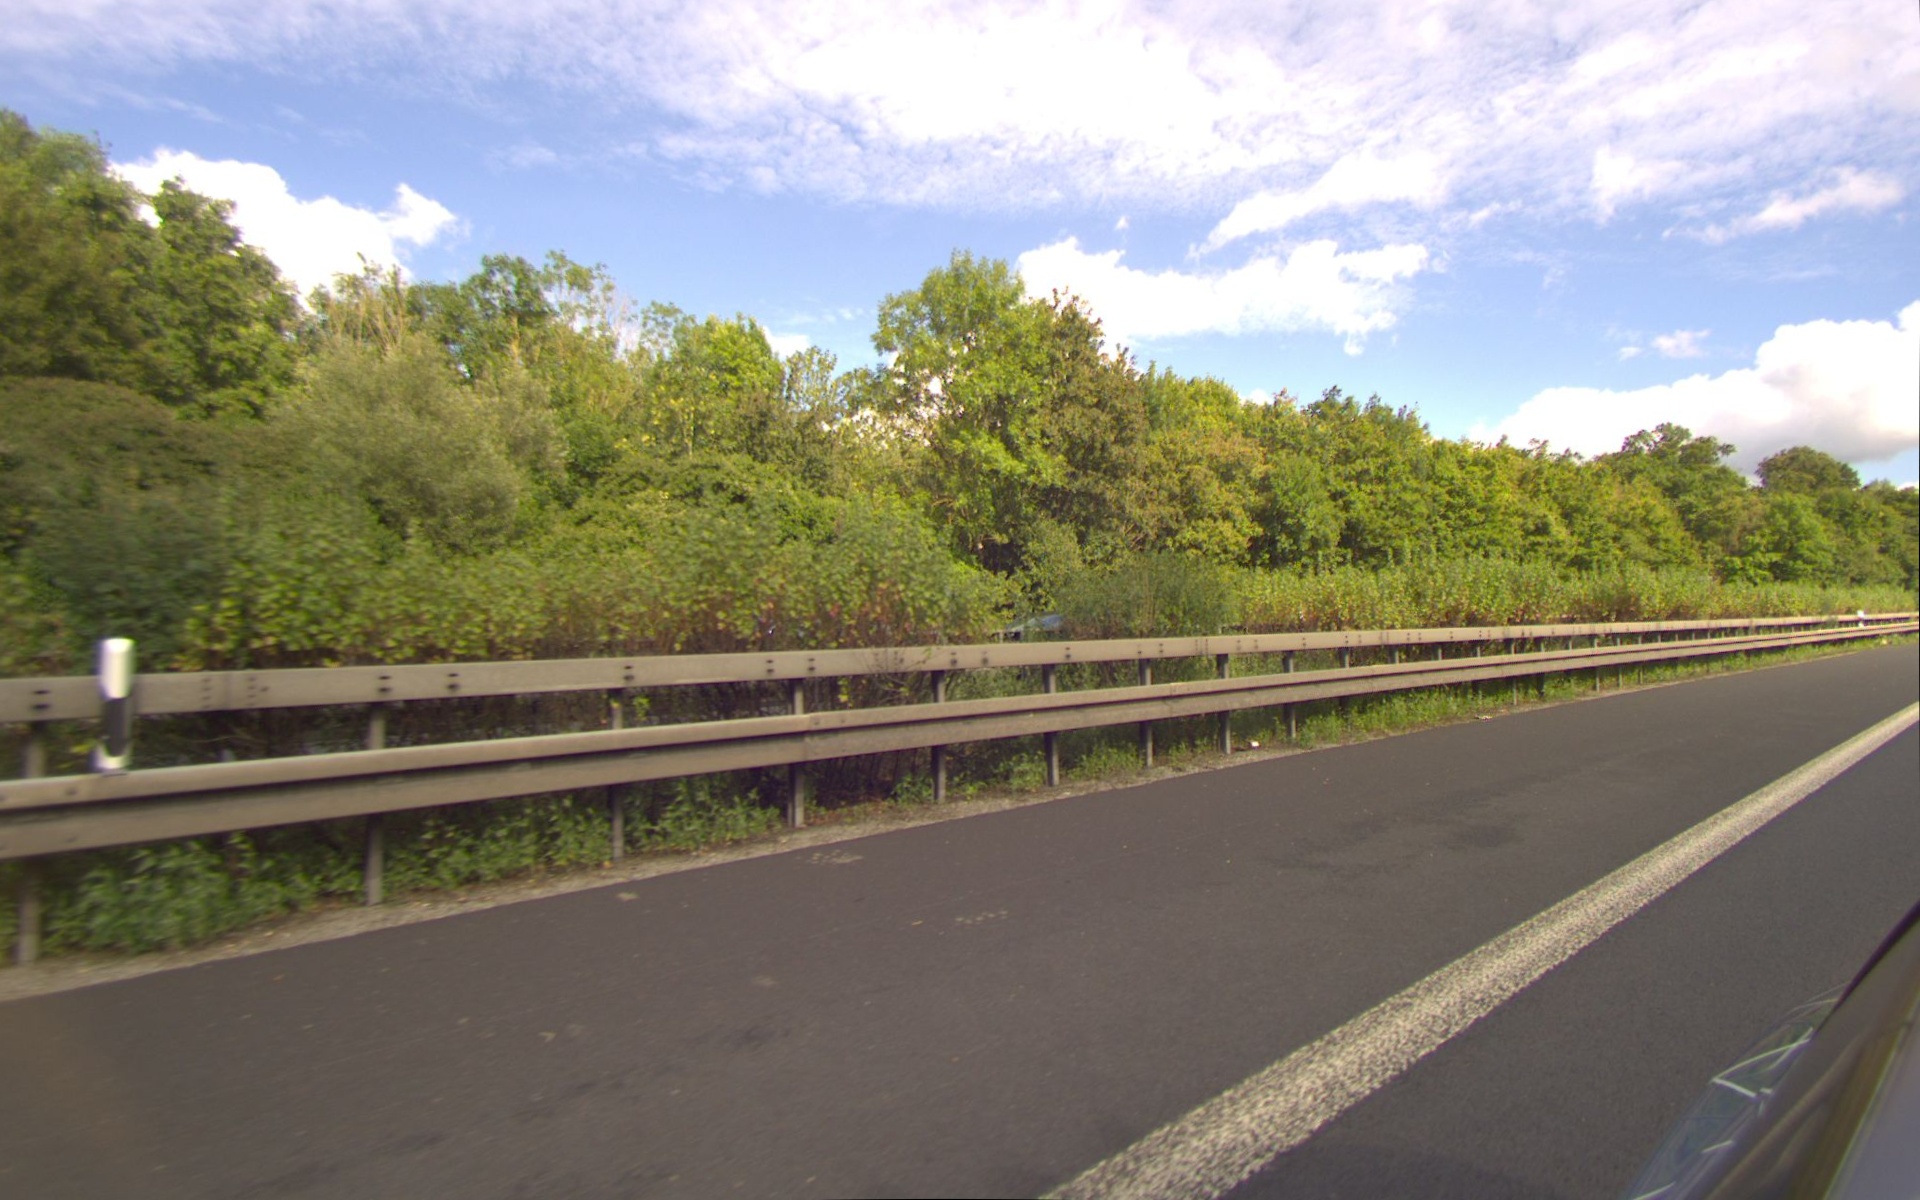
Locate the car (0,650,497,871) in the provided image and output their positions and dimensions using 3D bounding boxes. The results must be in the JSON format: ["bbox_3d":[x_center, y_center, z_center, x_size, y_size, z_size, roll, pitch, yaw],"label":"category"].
[{"bbox_3d":[-6.752,1.341,9.665,3.929,1.529,1.770,0,0,-40],"label":"car"}]

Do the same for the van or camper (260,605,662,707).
[{"bbox_3d":[-8.671,0.861,18.136,6.243,1.529,1.770,0,0,-41],"label":"van or camper"}]

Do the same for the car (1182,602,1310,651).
[{"bbox_3d":[9.641,0.839,33.869,4.785,1.529,1.770,0,0,-40],"label":"car"}]

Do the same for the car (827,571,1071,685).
[{"bbox_3d":[-0.114,0.493,20.443,4.824,2.039,1.996,0,0,-42],"label":"car"}]
